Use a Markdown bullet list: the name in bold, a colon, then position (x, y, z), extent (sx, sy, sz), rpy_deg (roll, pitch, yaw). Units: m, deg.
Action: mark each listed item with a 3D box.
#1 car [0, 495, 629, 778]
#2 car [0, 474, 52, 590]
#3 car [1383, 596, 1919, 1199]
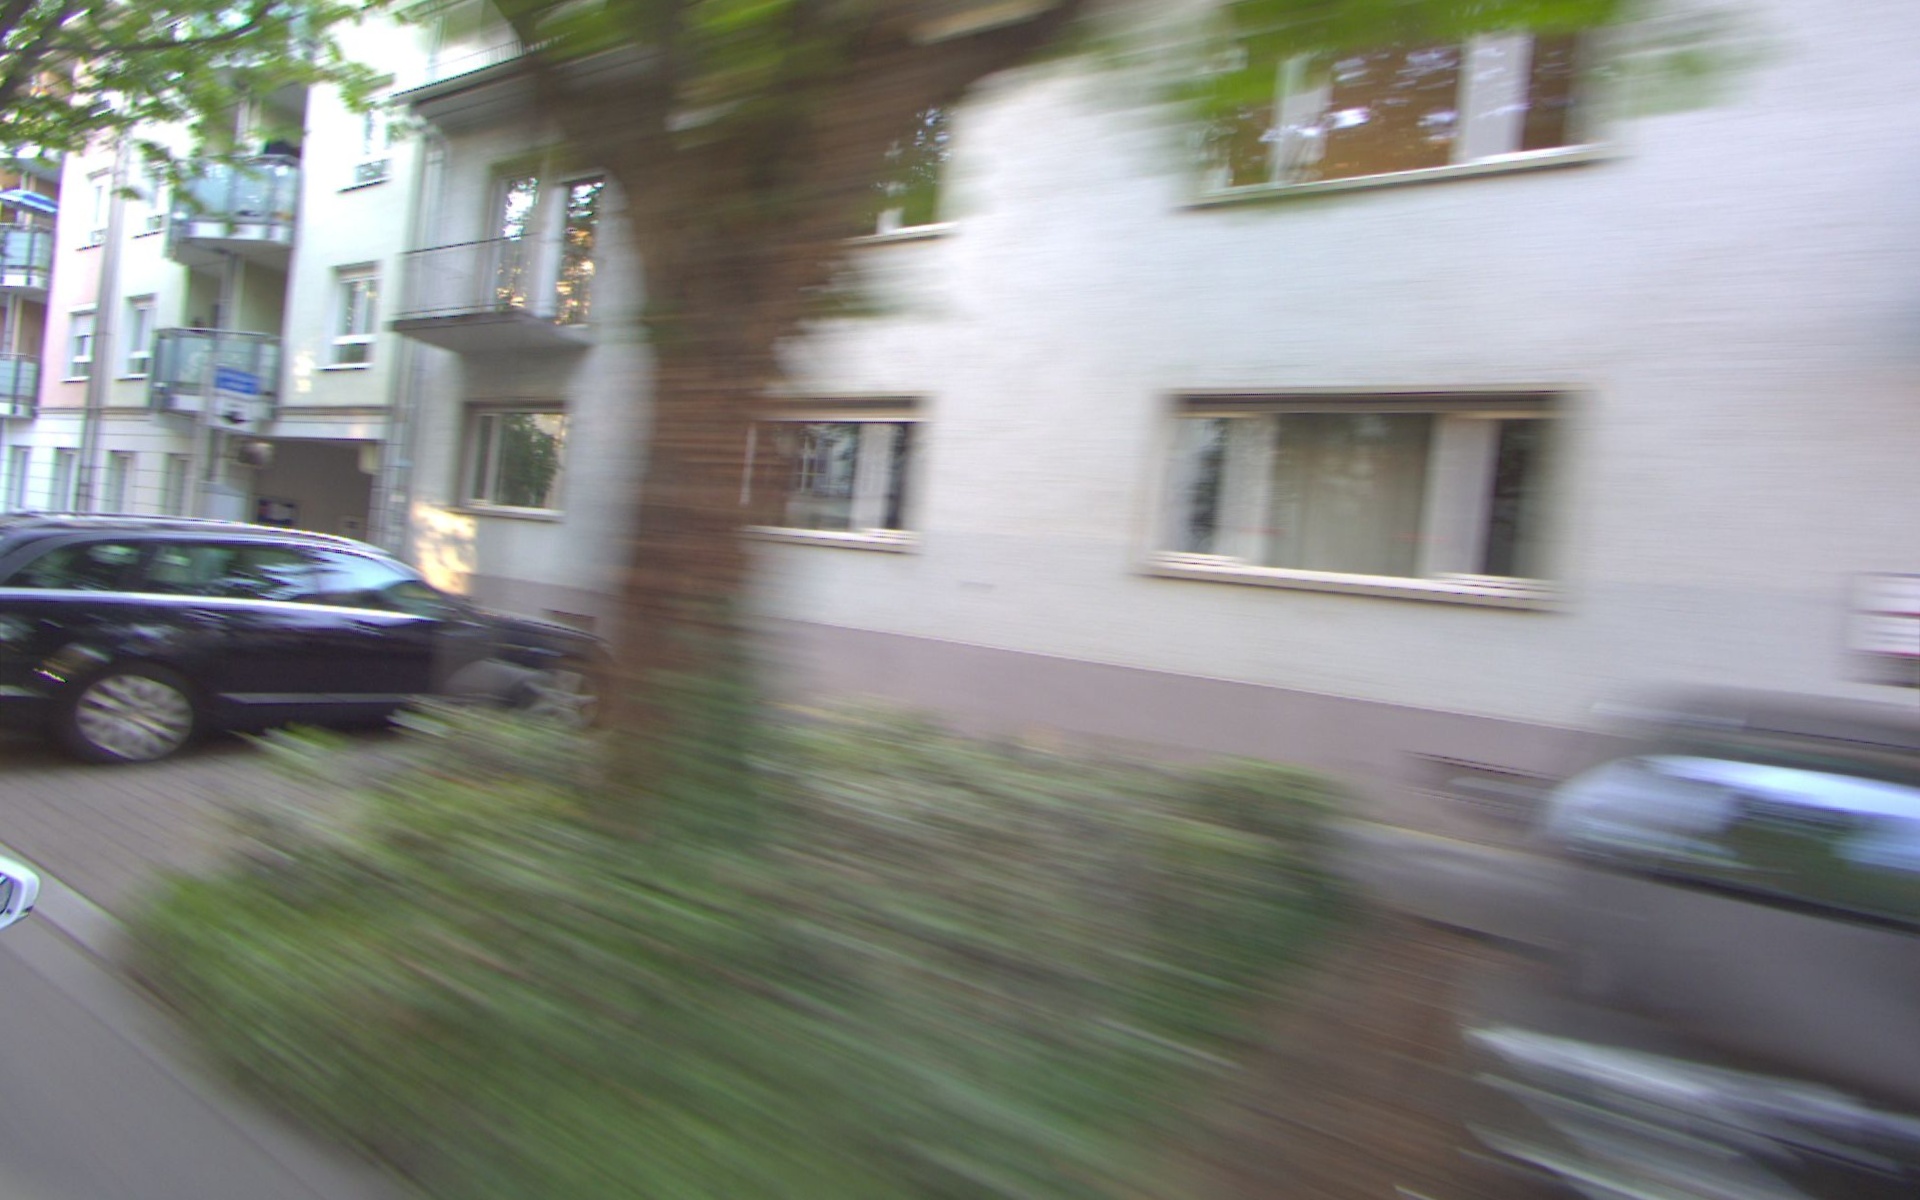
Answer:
- **car**: position (-4.777, 0.187, 7.170), extent (1.704, 1.489, 4.353), rpy_deg (7, 2, 36)
- **car**: position (-15.690, -1.152, 14.198), extent (1.894, 1.689, 3.863), rpy_deg (7, 2, 31)
- **car**: position (2.635, 1.001, 2.876), extent (1.920, 1.542, 4.450), rpy_deg (7, 0, 32)
